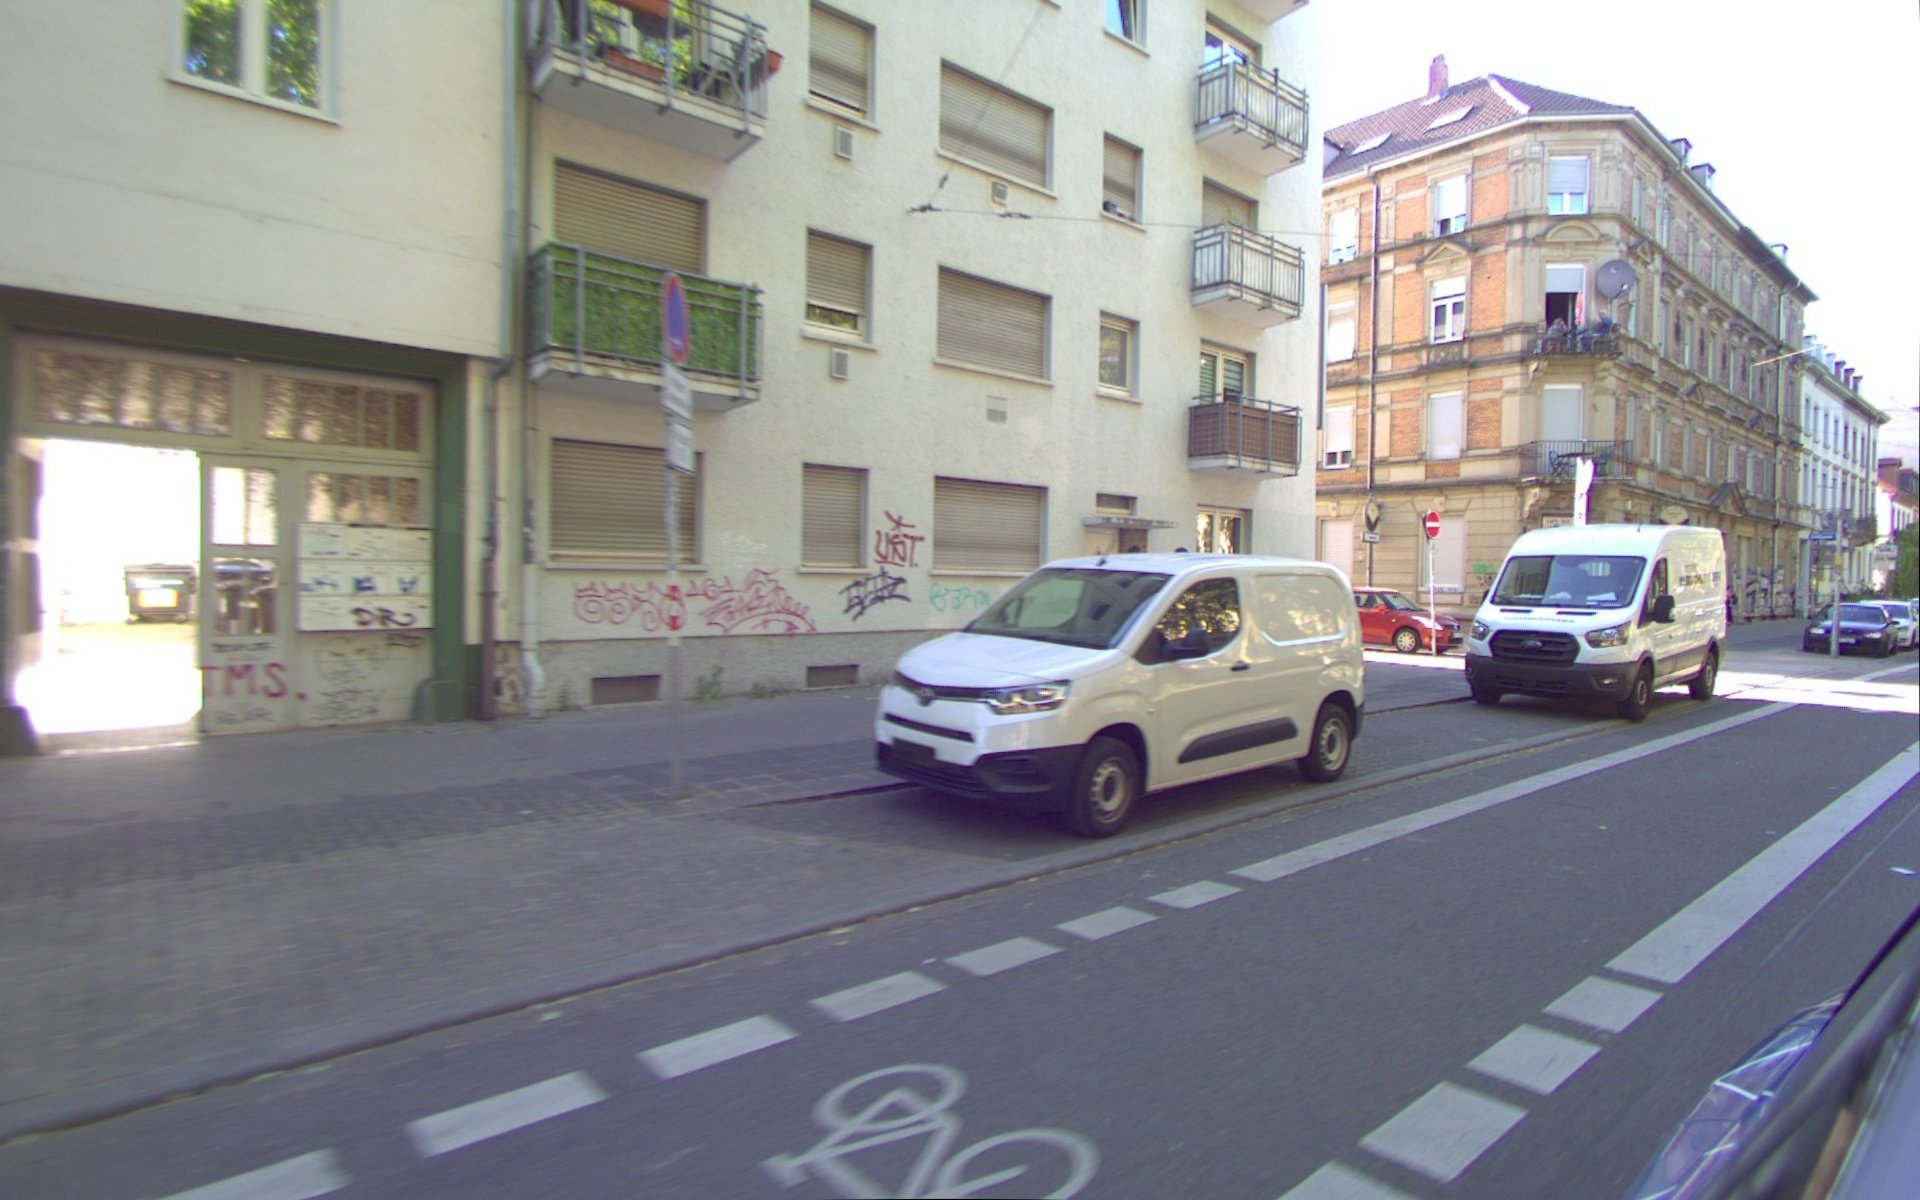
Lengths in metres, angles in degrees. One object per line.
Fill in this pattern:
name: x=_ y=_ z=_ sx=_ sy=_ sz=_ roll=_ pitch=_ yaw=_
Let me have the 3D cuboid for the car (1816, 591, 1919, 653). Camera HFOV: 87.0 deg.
car: x=24.846 y=0.543 z=27.657 sx=3.991 sy=1.437 sz=1.652 roll=-1 pitch=4 yaw=-42

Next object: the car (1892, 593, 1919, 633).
car: x=34.060 y=0.474 z=35.413 sx=3.659 sy=1.288 sz=1.653 roll=-1 pitch=4 yaw=-41

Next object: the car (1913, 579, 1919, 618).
car: x=37.973 y=-0.035 z=38.753 sx=3.674 sy=1.469 sz=1.611 roll=-1 pitch=4 yaw=-39

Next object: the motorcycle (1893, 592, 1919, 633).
motorcycle: x=32.163 y=0.420 z=33.236 sx=2.121 sy=1.305 sz=0.637 roll=1 pitch=1 yaw=29

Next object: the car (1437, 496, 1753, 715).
car: x=9.244 y=0.005 z=14.445 sx=5.982 sy=2.526 sz=2.153 roll=-1 pitch=2 yaw=-41

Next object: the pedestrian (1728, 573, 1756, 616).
pedestrian: x=30.609 y=-0.219 z=39.610 sx=0.753 sy=1.677 sz=0.716 roll=0 pitch=1 yaw=-41

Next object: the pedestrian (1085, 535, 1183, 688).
pedestrian: x=2.196 y=0.117 z=12.753 sx=1.062 sy=1.845 sz=0.627 roll=-1 pitch=3 yaw=-39

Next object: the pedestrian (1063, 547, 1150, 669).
pedestrian: x=2.039 y=0.088 z=14.101 sx=0.916 sy=1.598 sz=0.634 roll=-1 pitch=7 yaw=-38

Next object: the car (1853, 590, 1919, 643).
car: x=29.009 y=0.462 z=31.193 sx=3.942 sy=1.437 sz=1.606 roll=-1 pitch=4 yaw=-40

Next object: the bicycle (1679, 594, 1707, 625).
bicycle: x=24.682 y=0.316 z=34.075 sx=1.347 sy=1.013 sz=0.379 roll=0 pitch=1 yaw=-39

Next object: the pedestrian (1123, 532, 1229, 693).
pedestrian: x=2.610 y=0.119 z=12.222 sx=1.062 sy=1.845 sz=0.711 roll=-1 pitch=3 yaw=-38

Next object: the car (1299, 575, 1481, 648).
car: x=10.309 y=0.225 z=24.436 sx=1.758 sy=1.593 sz=3.658 roll=0 pitch=2 yaw=-40

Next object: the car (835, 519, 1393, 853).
car: x=1.361 y=0.380 z=7.783 sx=4.276 sy=1.841 sz=1.863 roll=-2 pitch=6 yaw=-41
